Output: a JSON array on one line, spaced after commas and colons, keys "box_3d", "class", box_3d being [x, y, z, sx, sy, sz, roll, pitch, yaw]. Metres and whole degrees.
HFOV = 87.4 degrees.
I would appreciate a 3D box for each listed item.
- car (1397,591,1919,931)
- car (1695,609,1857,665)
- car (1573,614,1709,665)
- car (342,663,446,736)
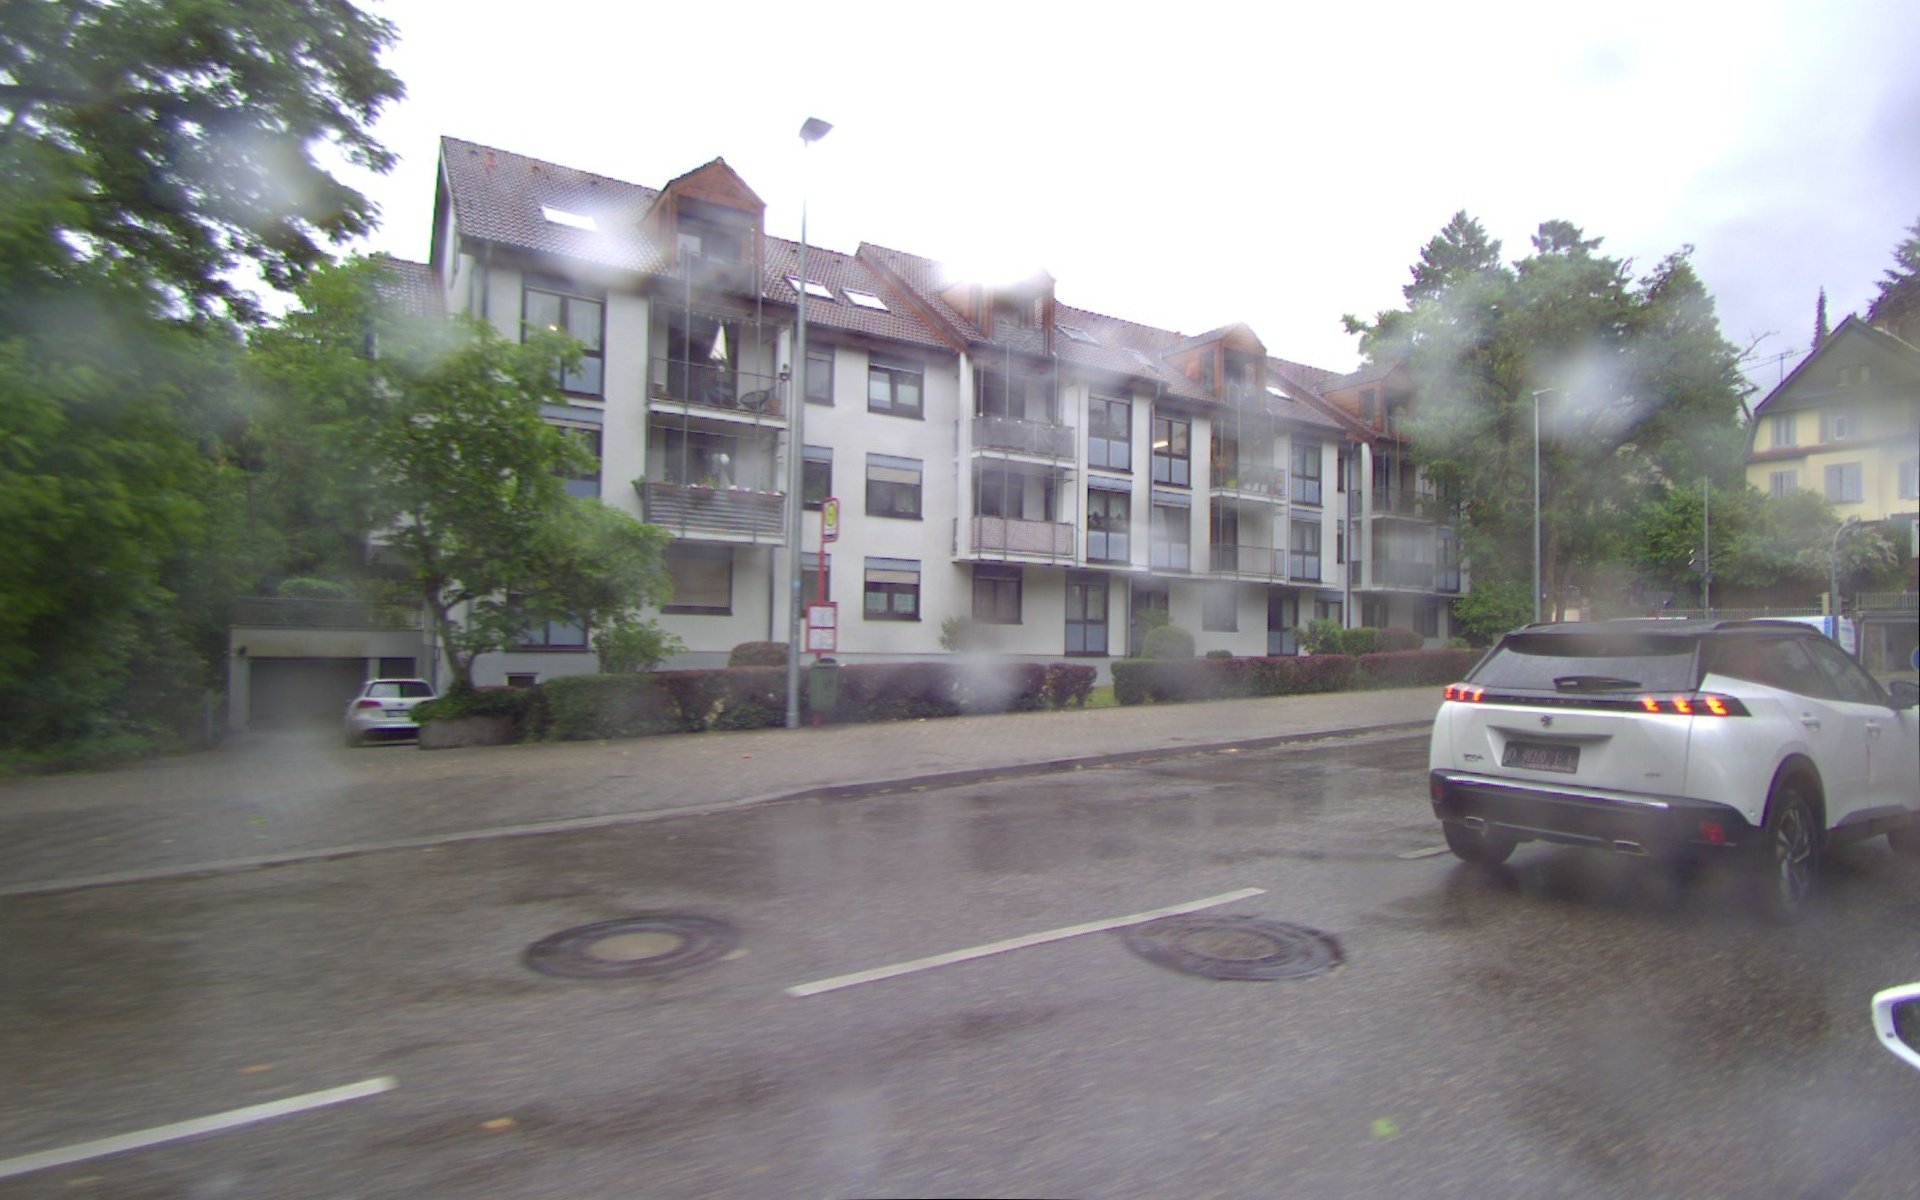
[{"box_3d": [4.921, 0.810, 6.563, 4.322, 1.556, 1.742, 1, -3, -34], "class": "car"}, {"box_3d": [38.988, 1.742, 48.156, 2.290, 2.527, 5.631, 3, -2, -31], "class": "car"}, {"box_3d": [35.997, 2.065, 53.282, 2.290, 2.527, 5.533, 3, -2, -31], "class": "car"}, {"box_3d": [-12.894, 2.298, 22.814, 1.708, 1.504, 3.529, 3, -8, -35], "class": "car"}]
